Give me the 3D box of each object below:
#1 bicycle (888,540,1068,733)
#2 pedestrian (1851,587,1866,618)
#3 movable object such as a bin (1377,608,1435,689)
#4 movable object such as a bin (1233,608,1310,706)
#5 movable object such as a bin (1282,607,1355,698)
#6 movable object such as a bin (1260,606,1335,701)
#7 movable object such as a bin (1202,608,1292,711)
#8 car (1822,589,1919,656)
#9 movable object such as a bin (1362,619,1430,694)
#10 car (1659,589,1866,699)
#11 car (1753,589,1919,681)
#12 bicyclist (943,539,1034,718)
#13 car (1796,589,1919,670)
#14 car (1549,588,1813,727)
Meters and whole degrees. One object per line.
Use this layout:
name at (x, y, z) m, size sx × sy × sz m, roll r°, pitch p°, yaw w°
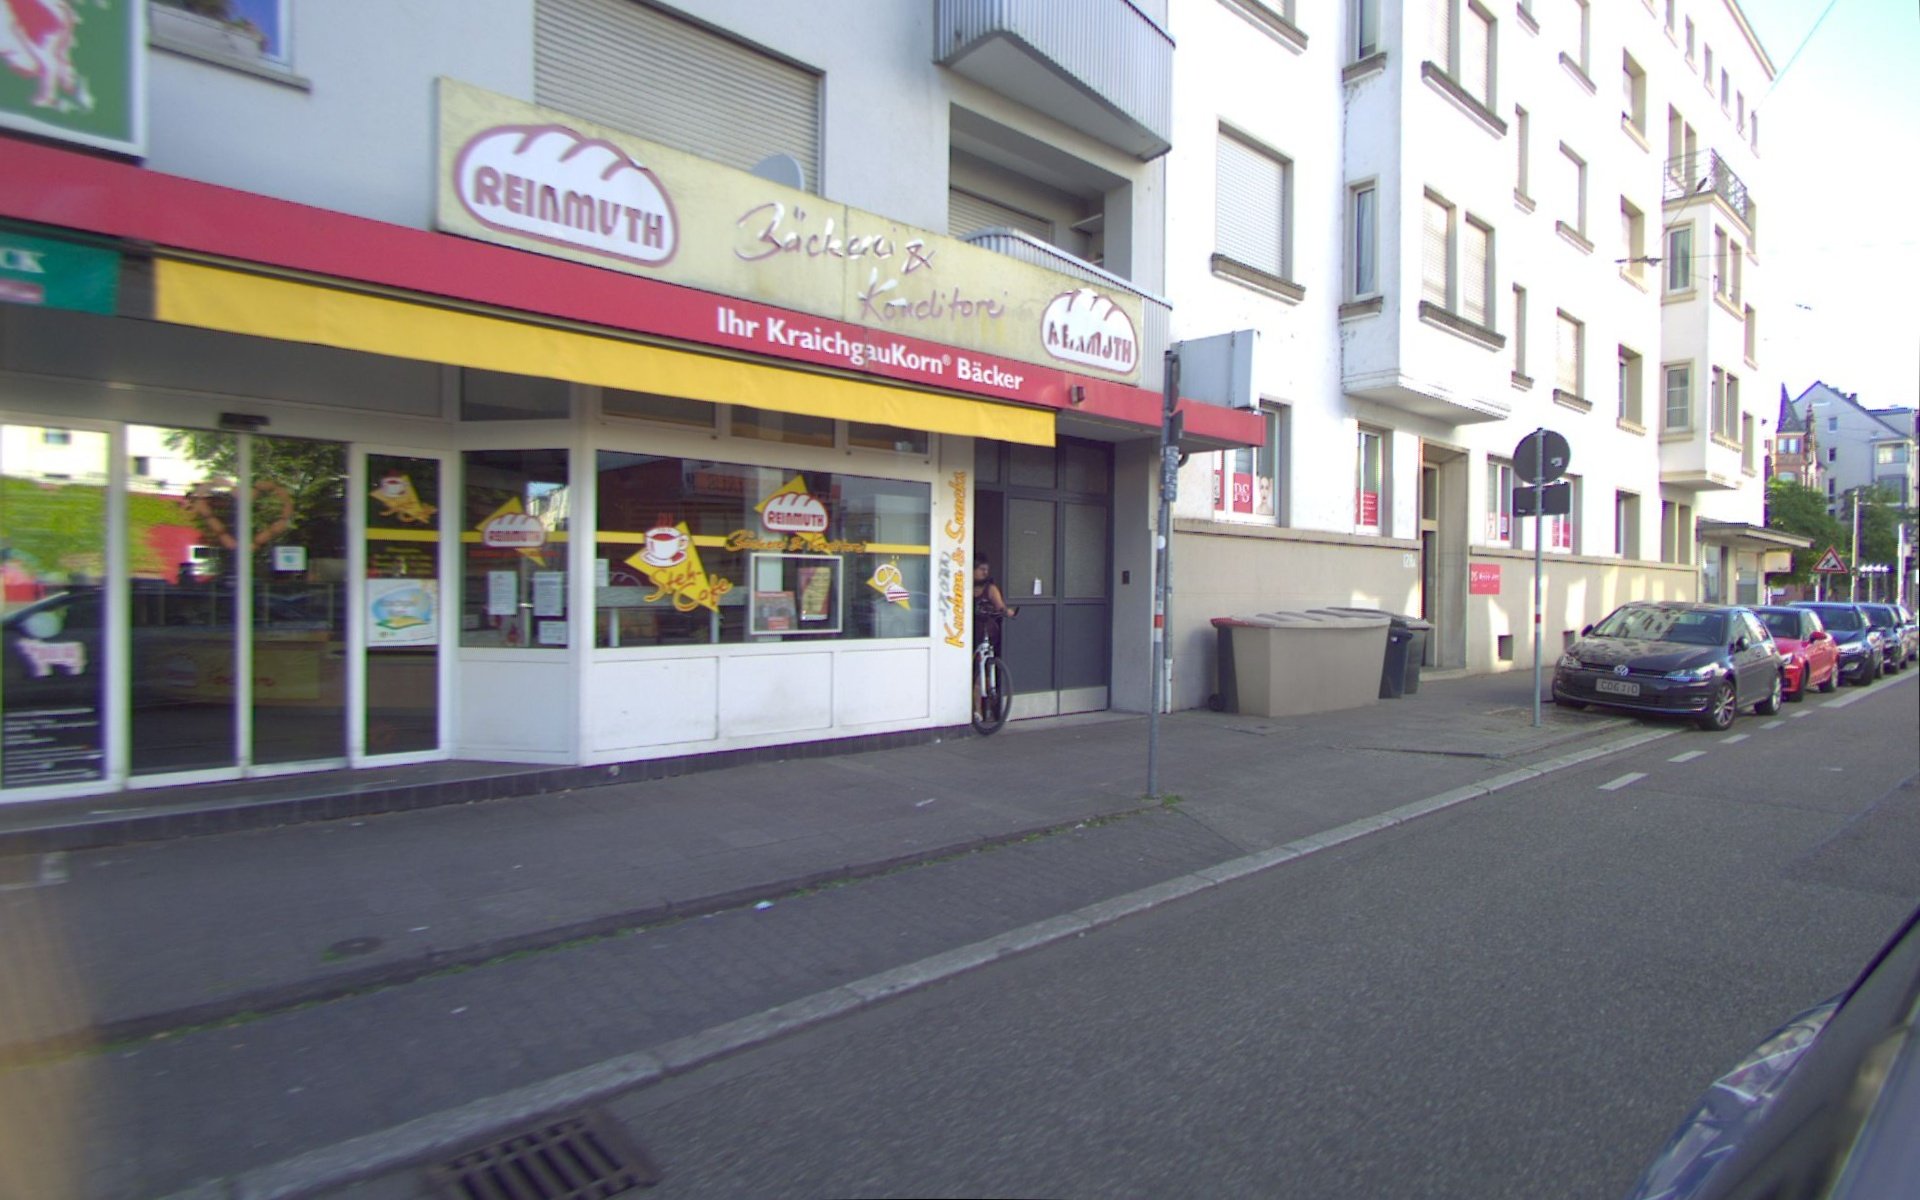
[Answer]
bicycle at (0.128, 0.313, 10.085) m, size 0.761 × 1.732 × 1.936 m, roll 0°, pitch 0°, yaw -37°
pedestrian at (58.624, 0.148, 66.040) m, size 0.645 × 1.980 × 0.577 m, roll 1°, pitch 1°, yaw 33°
movable object such as a bin at (6.111, 0.652, 13.873) m, size 0.545 × 1.070 × 0.559 m, roll 0°, pitch 0°, yaw -42°
movable object such as a bin at (3.631, 0.640, 11.805) m, size 0.560 × 1.086 × 0.676 m, roll 0°, pitch 0°, yaw -42°
movable object such as a bin at (4.453, 0.633, 12.592) m, size 0.560 × 1.086 × 0.676 m, roll 0°, pitch 0°, yaw -42°
movable object such as a bin at (4.064, 0.629, 12.190) m, size 0.560 × 1.086 × 0.676 m, roll 0°, pitch 0°, yaw -42°
movable object such as a bin at (3.215, 0.641, 11.356) m, size 0.607 × 1.086 × 0.771 m, roll 0°, pitch 0°, yaw -42°
car at (24.555, 0.522, 26.829) m, size 4.832 × 1.525 × 1.753 m, roll 0°, pitch 4°, yaw -40°
movable object such as a bin at (5.737, 0.725, 13.322) m, size 0.560 × 0.928 × 0.656 m, roll 0°, pitch 0°, yaw -42°
car at (13.249, 0.615, 16.637) m, size 3.918 × 1.490 × 1.862 m, roll 0°, pitch 4°, yaw -40°
car at (17.258, 0.599, 19.819) m, size 4.023 × 1.525 × 1.862 m, roll 0°, pitch 4°, yaw -40°
bicyclist at (0.280, 0.273, 10.247) m, size 0.500 × 1.724 × 0.845 m, roll 0°, pitch 0°, yaw -37°
car at (20.490, 0.579, 22.885) m, size 4.432 × 1.525 × 1.860 m, roll -1°, pitch 4°, yaw -44°
car at (9.413, 0.607, 13.085) m, size 4.281 × 1.424 × 1.715 m, roll 0°, pitch 4°, yaw -40°
